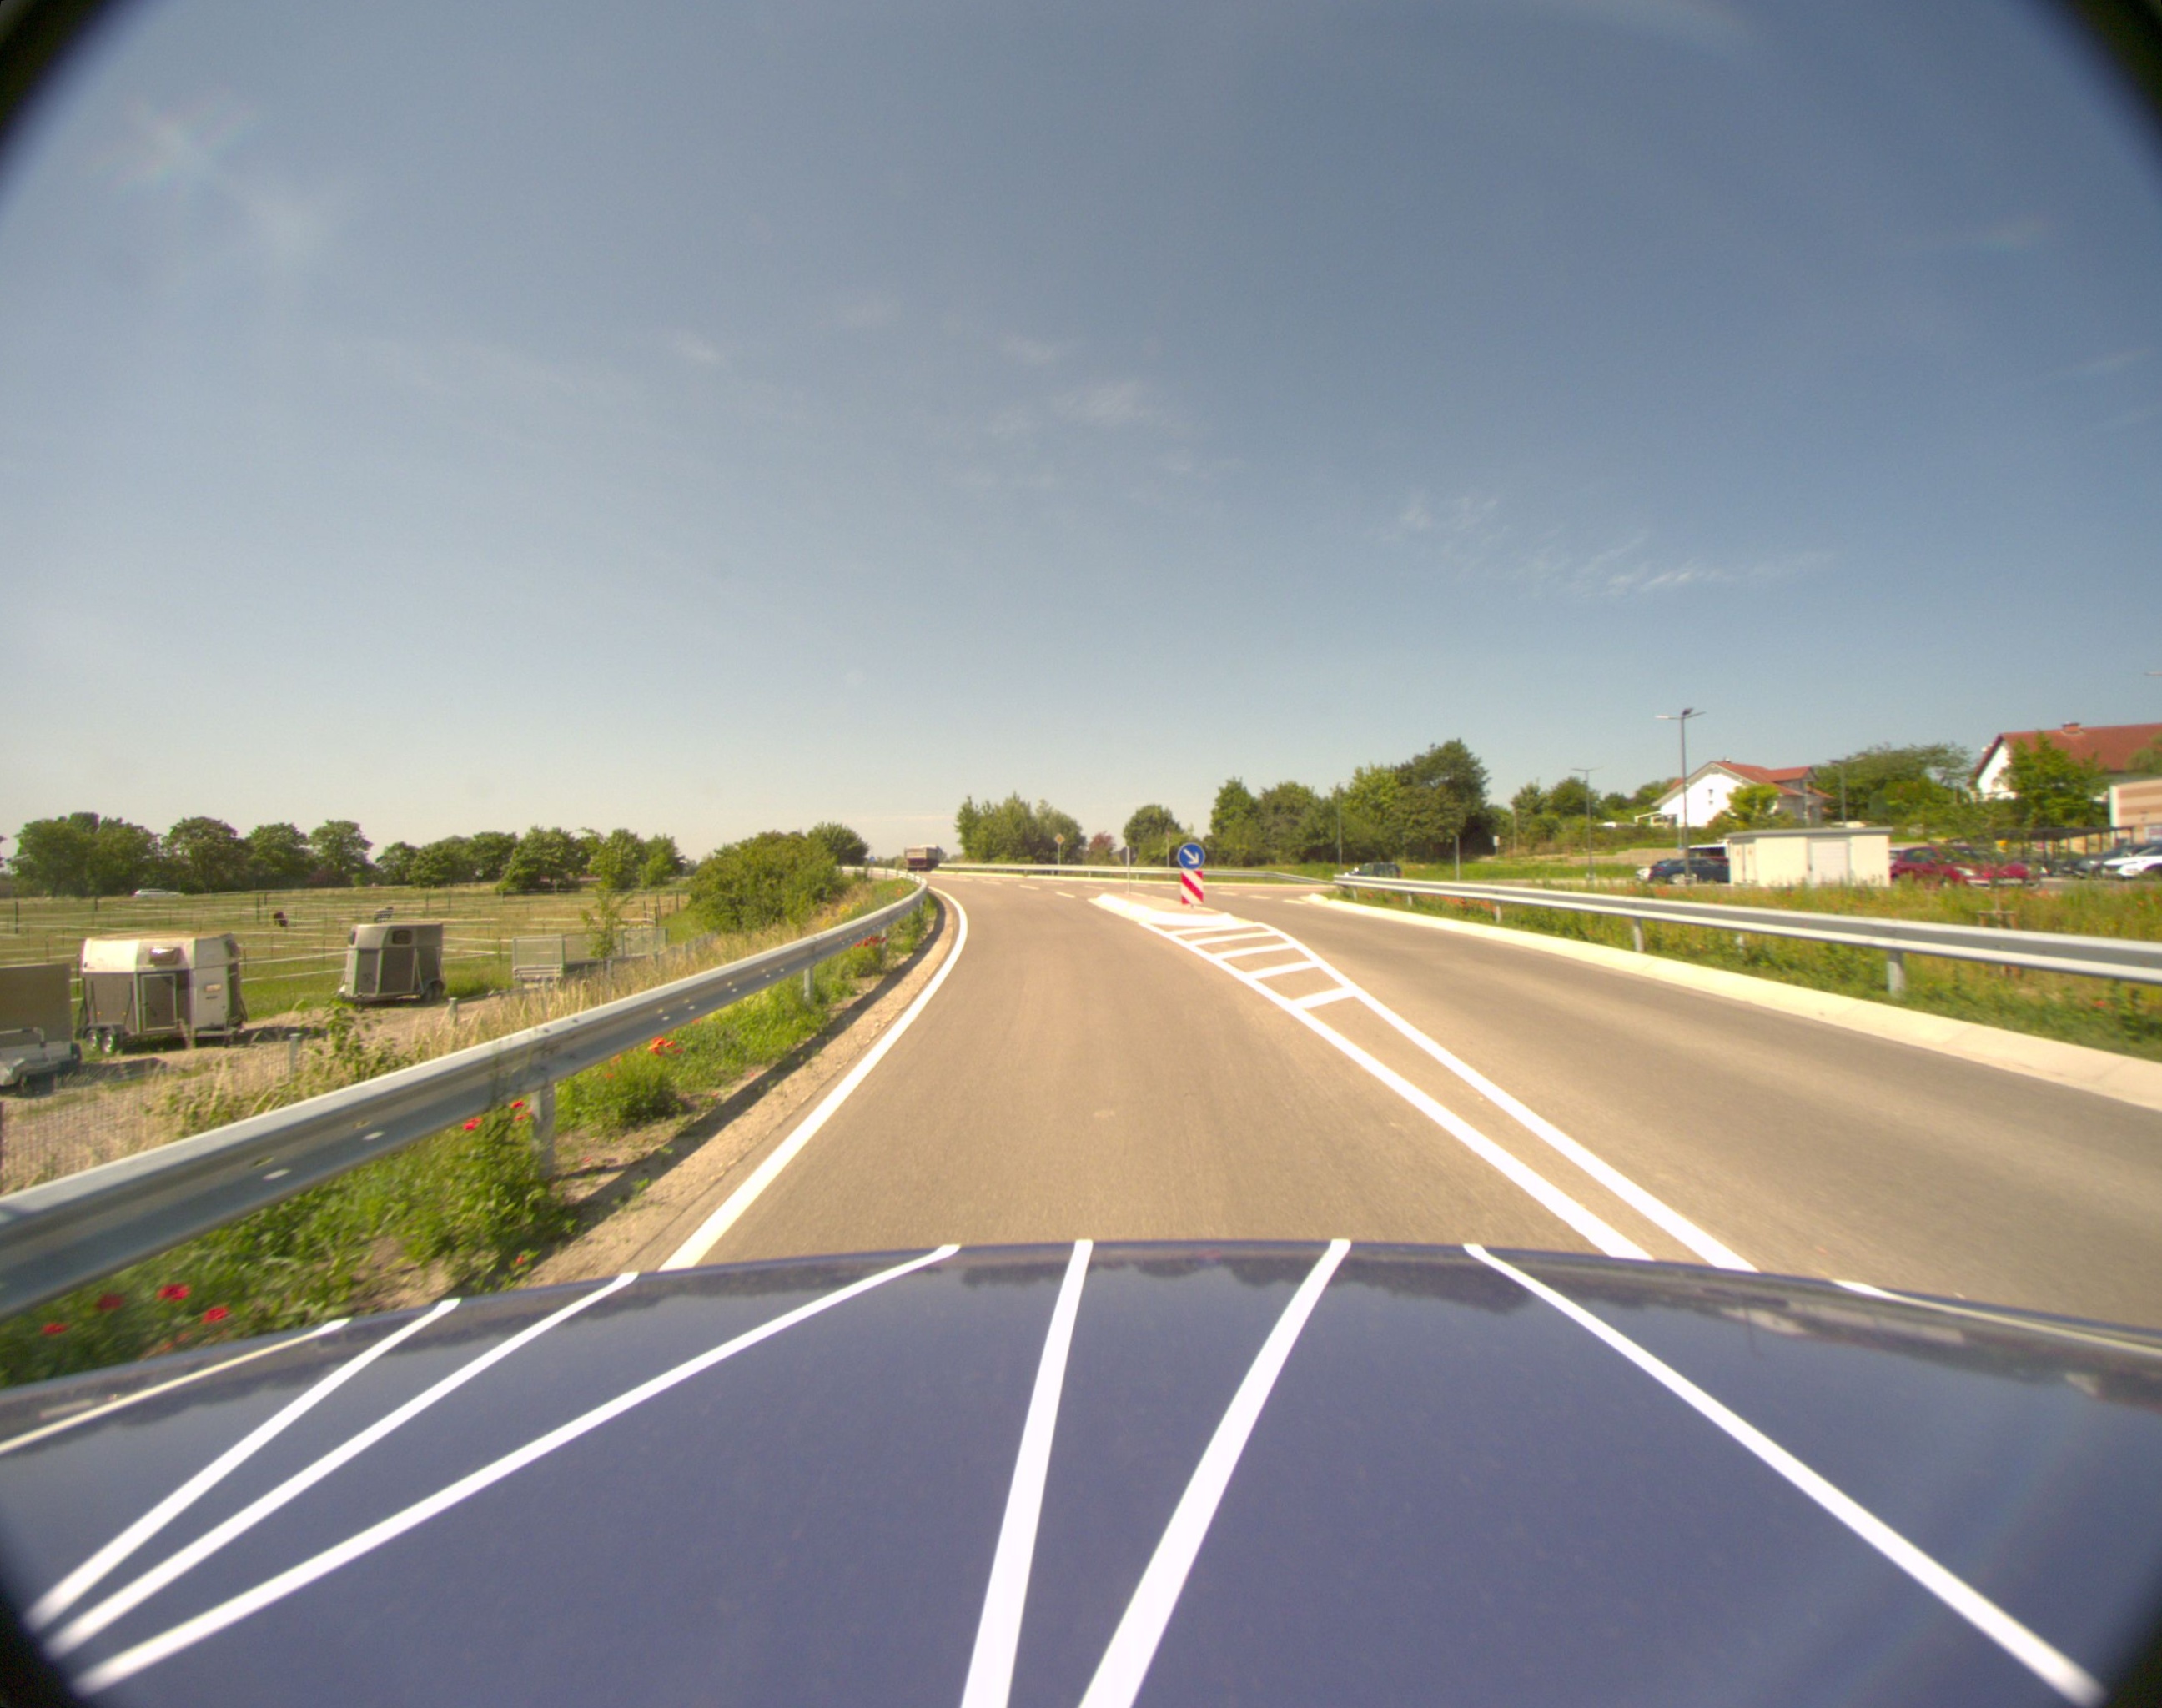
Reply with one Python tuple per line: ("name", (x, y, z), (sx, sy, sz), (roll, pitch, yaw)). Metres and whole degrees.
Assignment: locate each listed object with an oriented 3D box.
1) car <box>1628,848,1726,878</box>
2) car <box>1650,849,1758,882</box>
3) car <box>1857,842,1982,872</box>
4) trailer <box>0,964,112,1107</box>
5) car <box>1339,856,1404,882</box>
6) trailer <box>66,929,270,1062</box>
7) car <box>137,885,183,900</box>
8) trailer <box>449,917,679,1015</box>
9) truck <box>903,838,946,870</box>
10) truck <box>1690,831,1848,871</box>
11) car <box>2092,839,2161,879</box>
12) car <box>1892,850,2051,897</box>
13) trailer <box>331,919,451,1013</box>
("car", (36.739, 0.527, 46.978), (4.324, 1.694, 2.002), (-2, 1, 19))
("car", (34.723, 0.659, 42.511), (4.322, 1.694, 2.003), (-1, 1, 25))
("car", (47.596, 0.171, 43.245), (4.323, 1.588, 2.003), (-1, 1, 22))
("trailer", (-21.285, 3.515, 14.997), (4.083, 2.376, 2.011), (-4, -1, 29))
("car", (20.577, 1.083, 53.804), (4.187, 1.694, 2.003), (-1, 1, 21))
("trailer", (-22.689, 3.384, 18.930), (3.413, 2.788, 2.168), (-1, 0, 20))
("car", (-141.816, 5.930, 117.036), (1.994, 2.002, 4.300), (-1, 1, 38))
("trailer", (-17.176, 3.580, 25.779), (2.576, 2.366, 6.059), (-1, 0, 18))
("truck", (-18.447, -0.038, 90.042), (2.822, 3.519, 8.193), (-2, 1, 3))
("truck", (60.497, -0.287, 67.044), (10.705, 3.173, 2.448), (-2, 1, 9))
("car", (48.574, 0.179, 33.539), (4.323, 1.694, 2.003), (-1, 1, 23))
("car", (27.377, 0.568, 23.537), (1.621, 1.281, 3.679), (-1, 0, 21))
("trailer", (-22.915, 3.616, 25.420), (2.003, 2.787, 3.372), (0, -3, -25))
